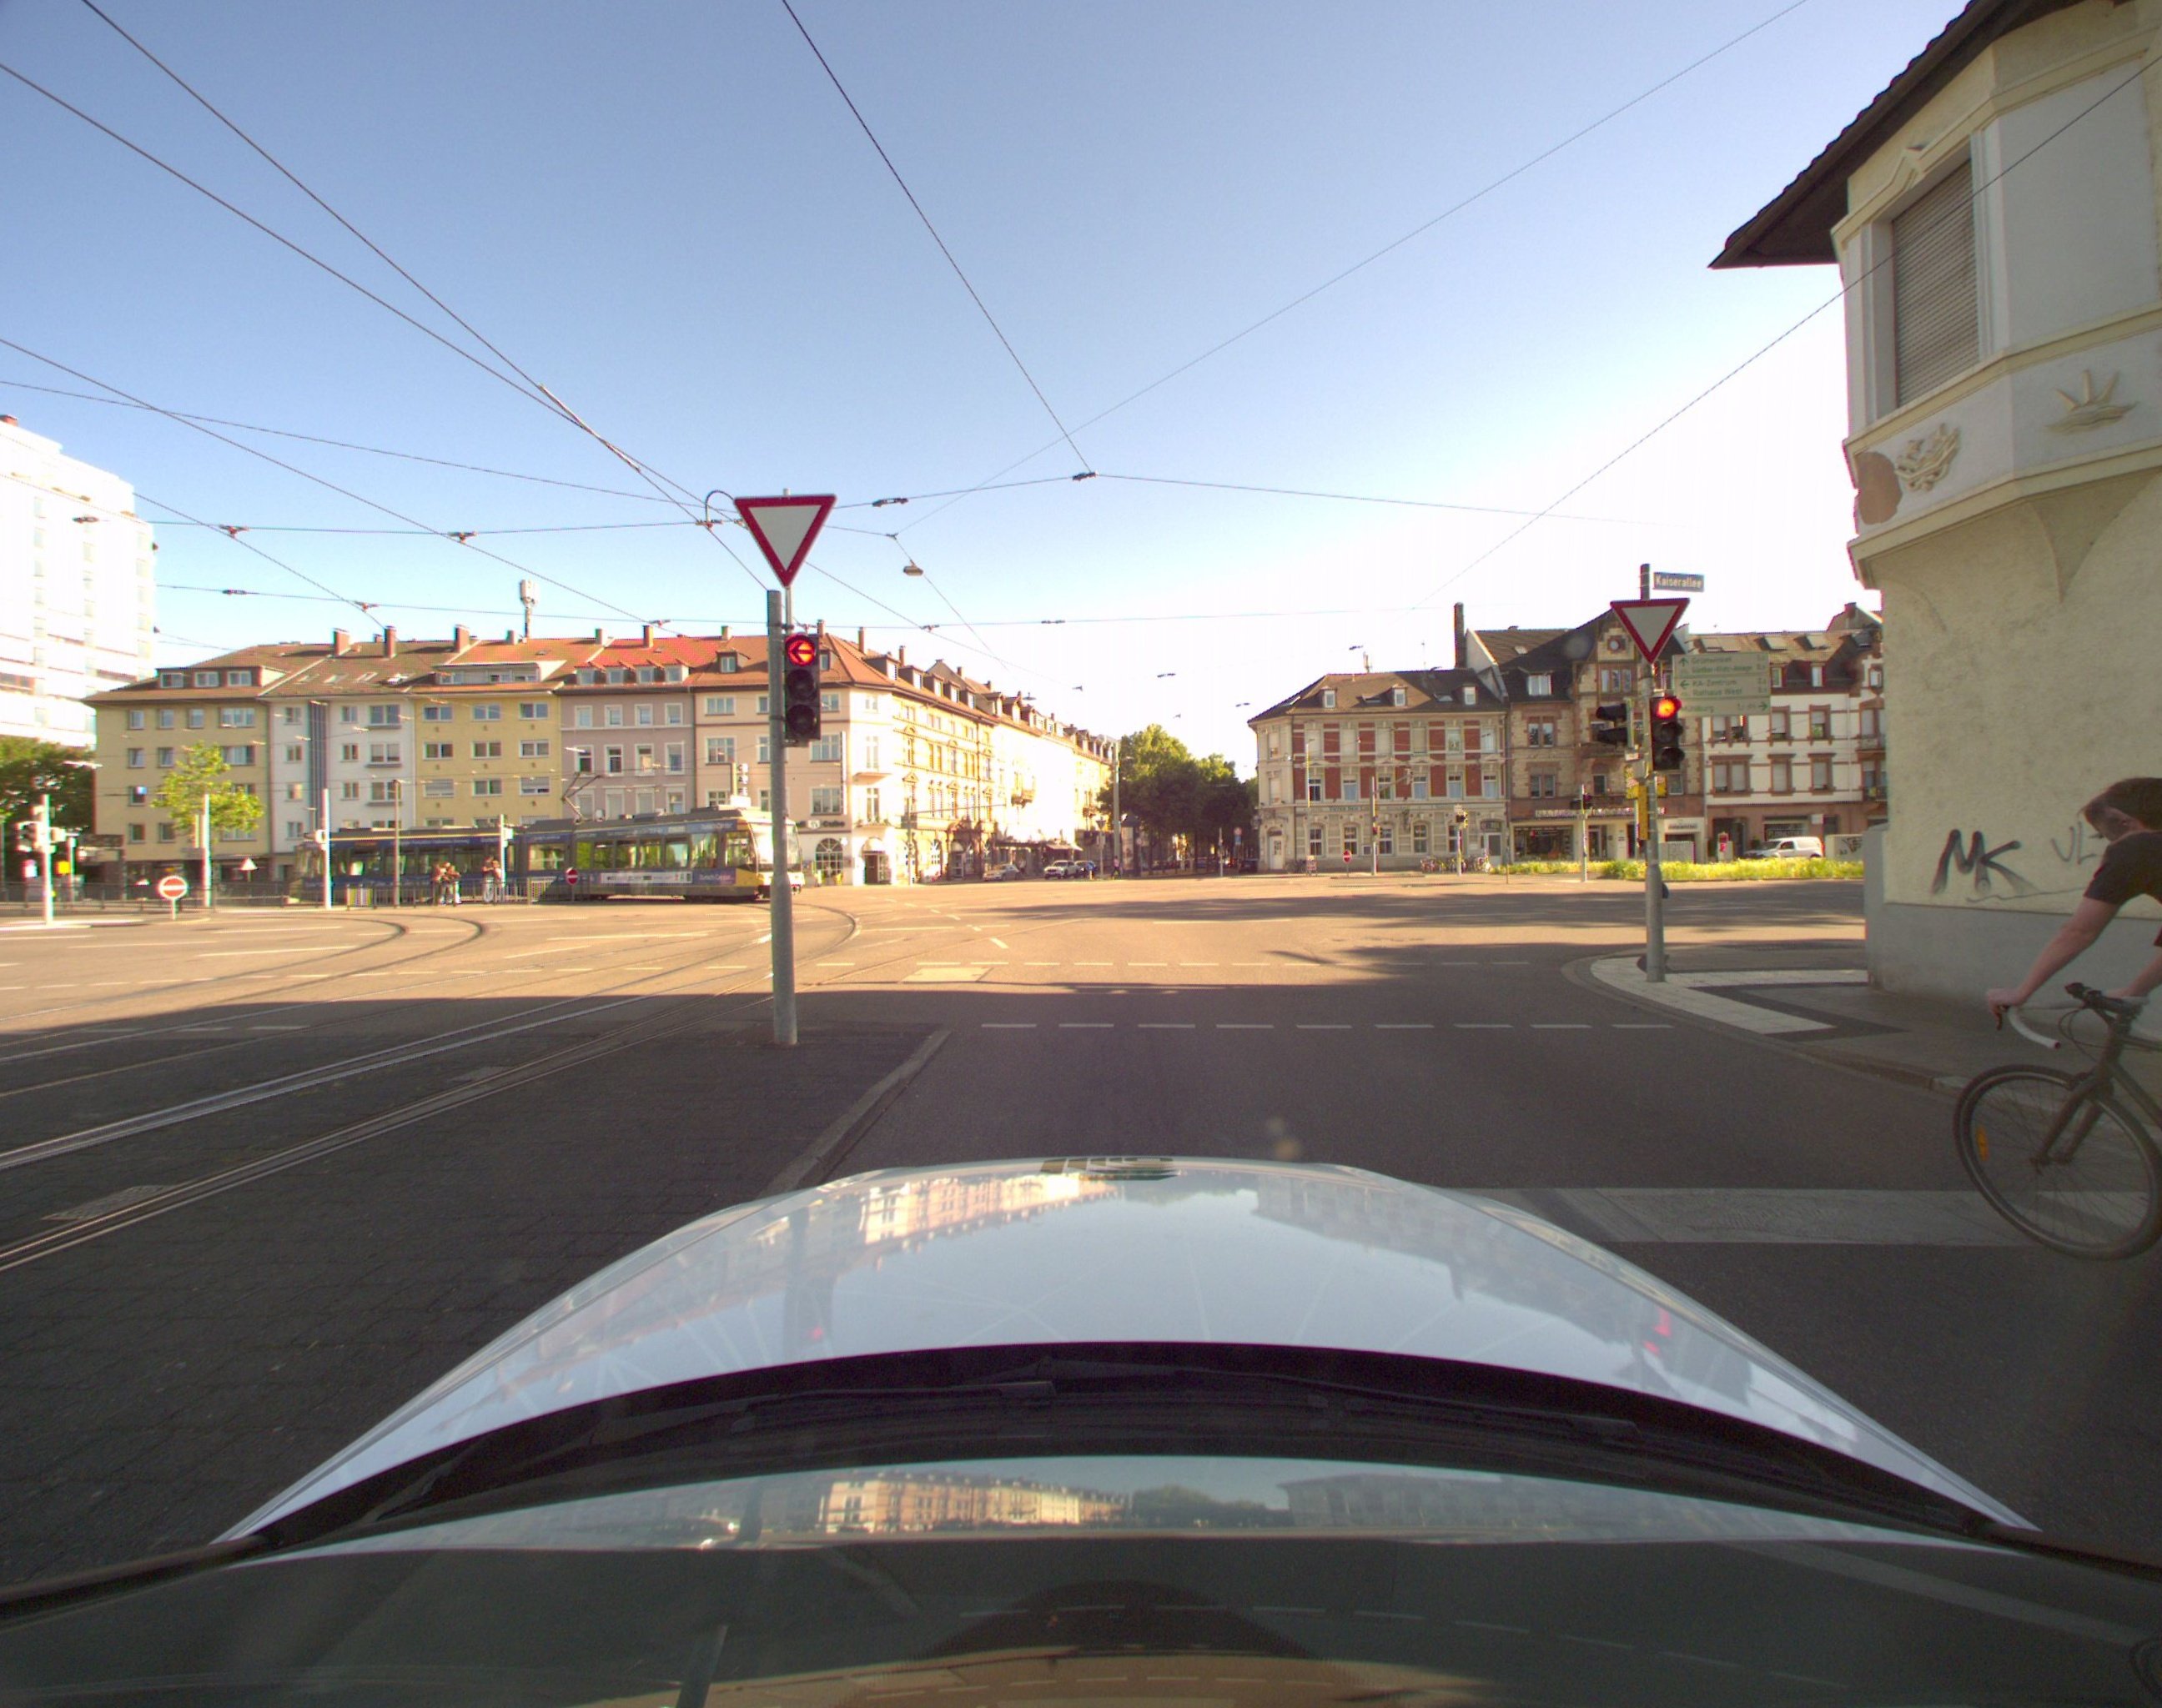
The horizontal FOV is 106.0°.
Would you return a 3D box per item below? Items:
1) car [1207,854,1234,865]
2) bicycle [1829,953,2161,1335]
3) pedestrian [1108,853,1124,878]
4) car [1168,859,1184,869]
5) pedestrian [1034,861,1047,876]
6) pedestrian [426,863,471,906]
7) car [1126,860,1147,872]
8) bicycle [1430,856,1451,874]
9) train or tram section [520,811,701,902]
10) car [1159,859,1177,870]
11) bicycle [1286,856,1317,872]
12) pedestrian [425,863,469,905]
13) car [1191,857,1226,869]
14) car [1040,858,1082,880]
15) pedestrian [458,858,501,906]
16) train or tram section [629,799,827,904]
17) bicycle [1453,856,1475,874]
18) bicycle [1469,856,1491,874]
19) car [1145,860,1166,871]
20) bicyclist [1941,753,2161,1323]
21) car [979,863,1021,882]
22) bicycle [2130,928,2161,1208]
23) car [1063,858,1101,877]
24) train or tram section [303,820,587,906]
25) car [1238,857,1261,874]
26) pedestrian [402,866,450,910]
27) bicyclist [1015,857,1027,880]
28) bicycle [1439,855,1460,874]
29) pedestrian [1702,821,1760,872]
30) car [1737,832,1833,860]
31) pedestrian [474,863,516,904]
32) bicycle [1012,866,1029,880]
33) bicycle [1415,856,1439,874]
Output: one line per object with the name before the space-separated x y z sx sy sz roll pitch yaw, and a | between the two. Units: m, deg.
car | 22.835 0.969 133.294 3.948 1.706 2.013 -2 0 32
bicycle | 3.614 0.950 2.662 0.642 1.010 1.930 -2 0 4
pedestrian | 2.523 0.803 58.781 1.043 1.744 0.808 -1 0 -1
car | 15.835 1.719 136.159 1.750 1.549 4.411 -2 0 18
pedestrian | -4.171 1.514 84.329 0.921 1.535 1.142 -1 0 16
pedestrian | -24.607 1.168 31.698 0.932 1.598 1.013 -2 0 12
car | 7.537 1.668 110.972 1.978 1.486 4.017 -1 0 16
bicycle | 23.279 0.692 52.829 0.615 1.143 2.178 -2 0 7
train or tram section | -20.034 0.158 34.471 8.353 3.500 2.842 -1 0 31
car | 13.917 1.700 130.324 1.822 1.552 4.412 -2 0 19
bicycle | 15.501 0.724 57.181 2.081 1.124 0.366 0 -1 -3
pedestrian | -25.303 1.183 32.508 0.998 1.598 0.946 -2 0 18
car | 18.018 1.308 115.229 4.335 1.612 2.012 -2 0 28
car | -1.606 1.251 67.530 1.977 1.684 4.413 -2 0 20
pedestrian | -22.848 1.057 30.961 0.939 1.775 1.006 -1 0 -11
train or tram section | -13.229 -0.026 30.277 7.859 3.500 2.842 -1 0 33
bicycle | 24.779 0.711 52.681 0.615 1.143 2.178 -2 0 7
bicycle | 25.757 0.690 52.591 0.606 1.136 2.139 -2 0 7
car | 11.258 1.730 122.592 1.977 1.612 4.413 -2 0 20
bicyclist | 3.599 0.563 2.585 0.559 1.754 1.102 -2 0 4
car | -6.681 1.522 67.373 1.883 1.455 4.020 -2 0 20
bicycle | 4.534 0.860 2.437 0.516 1.116 1.815 -2 0 4
car | 0.119 1.218 74.007 1.977 1.612 4.413 -2 0 20
train or tram section | -29.058 0.443 37.277 11.918 3.500 2.787 -1 0 9
car | 17.018 1.140 82.207 1.978 1.585 4.017 -2 0 16
pedestrian | -24.664 1.262 30.681 0.931 1.598 1.014 -2 0 17
bicyclist | -4.811 1.132 65.331 0.674 1.820 1.075 -2 0 14
bicycle | 23.859 0.673 52.776 0.615 1.143 2.178 -2 0 7
pedestrian | 27.114 -0.305 33.991 1.314 2.044 1.307 -2 0 1
car | 45.359 -0.480 52.545 4.317 1.640 2.152 -2 0 1
pedestrian | -23.239 1.166 32.297 0.997 1.598 0.946 -2 0 23
bicycle | -4.815 1.512 65.287 0.675 1.066 2.133 -2 0 14
bicycle | 22.501 0.702 52.978 0.802 1.143 2.178 -2 0 7
